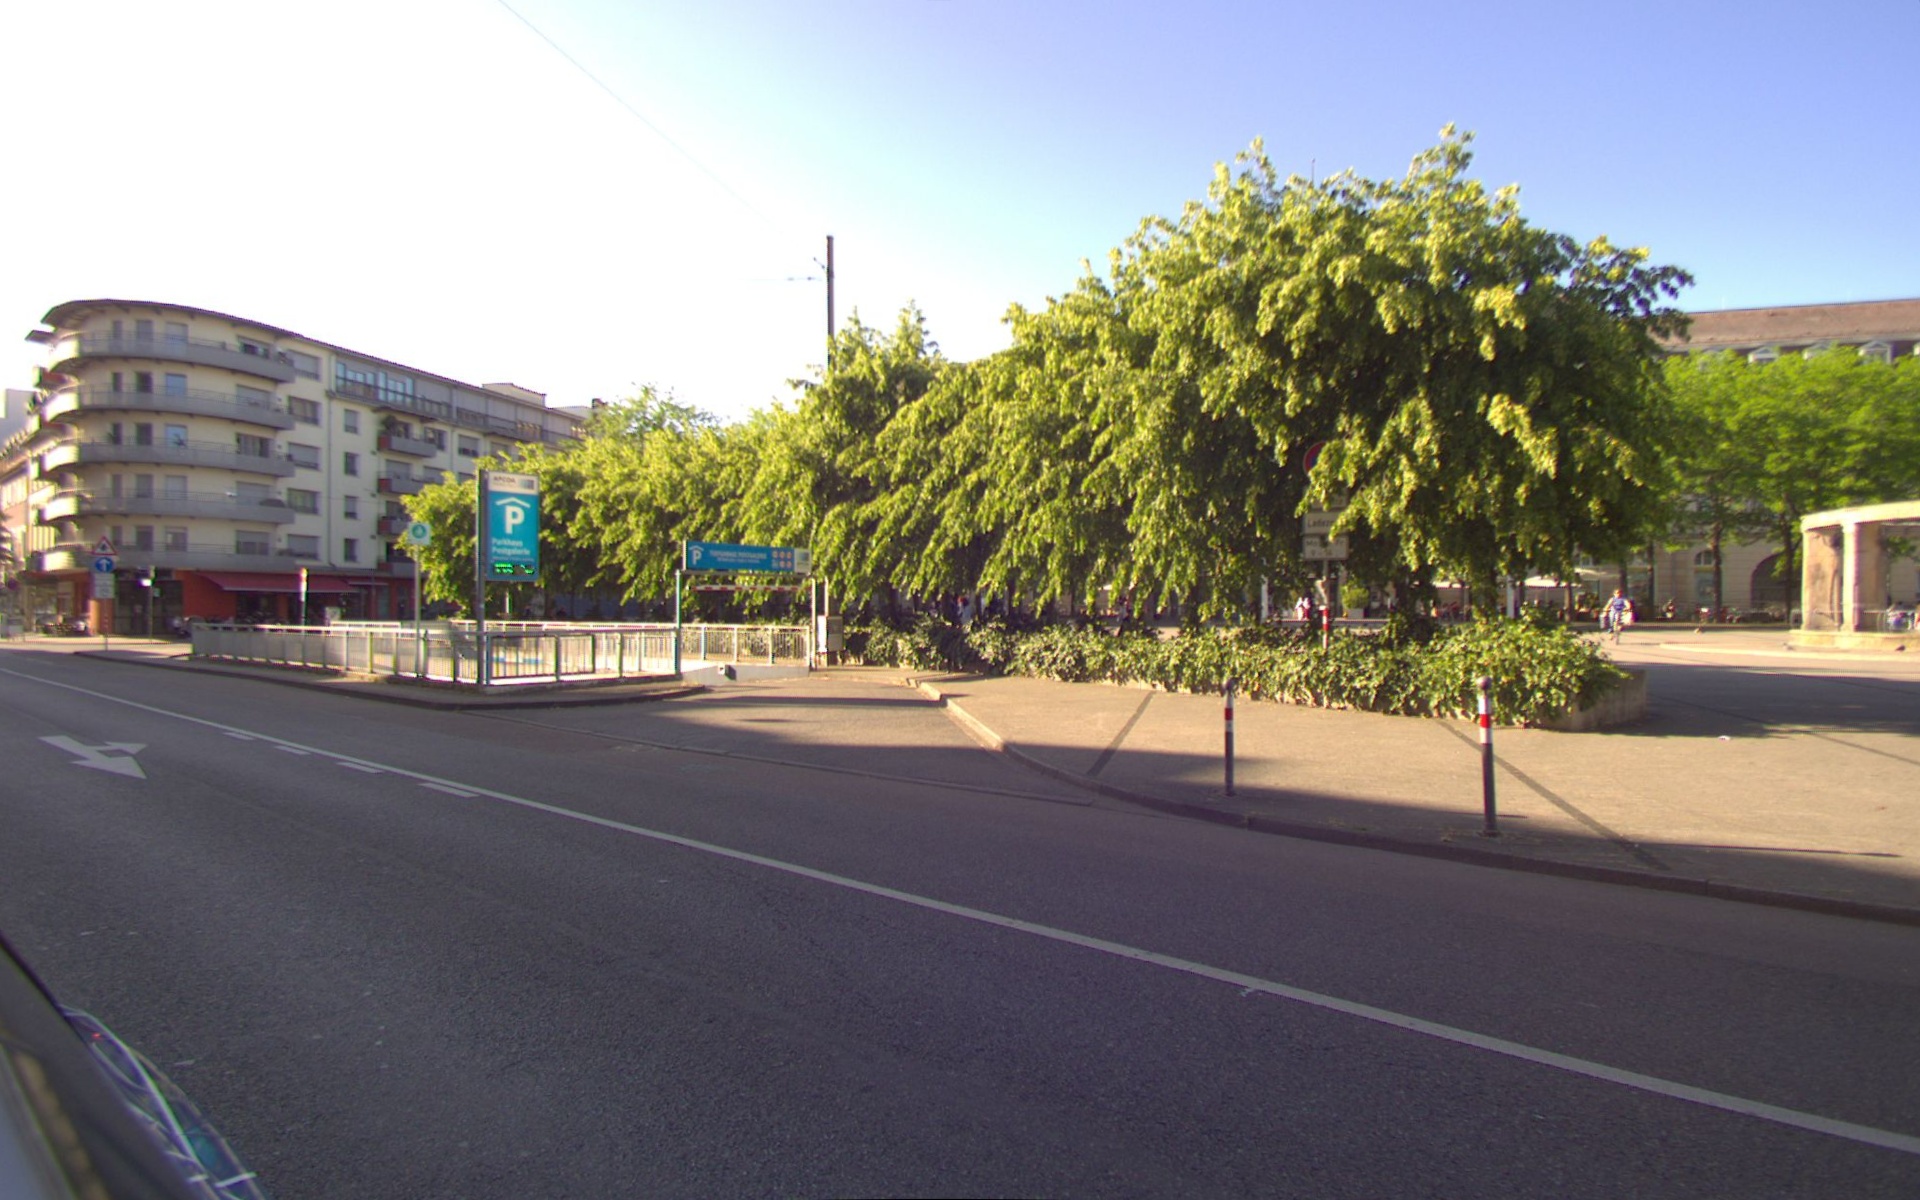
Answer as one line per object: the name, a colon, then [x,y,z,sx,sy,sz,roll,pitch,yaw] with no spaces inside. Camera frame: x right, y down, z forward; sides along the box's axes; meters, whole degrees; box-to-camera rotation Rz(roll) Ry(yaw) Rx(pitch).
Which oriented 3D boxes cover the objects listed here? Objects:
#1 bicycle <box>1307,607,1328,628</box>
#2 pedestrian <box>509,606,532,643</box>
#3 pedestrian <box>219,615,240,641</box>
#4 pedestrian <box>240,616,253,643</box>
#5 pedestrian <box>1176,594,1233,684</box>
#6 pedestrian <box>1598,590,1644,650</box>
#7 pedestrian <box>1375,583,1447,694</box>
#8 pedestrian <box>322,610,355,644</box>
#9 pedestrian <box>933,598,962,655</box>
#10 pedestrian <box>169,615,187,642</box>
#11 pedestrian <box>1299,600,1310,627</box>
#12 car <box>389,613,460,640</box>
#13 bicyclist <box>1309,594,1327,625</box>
bicycle: [16.879,0.807,47.786,0.587,0.961,1.887,-1,0,30]
pedestrian: [-21.800,1.217,50.238,0.753,1.819,0.748,-1,-1,25]
pedestrian: [-41.860,1.600,58.024,0.782,1.473,0.582,-1,0,3]
pedestrian: [-40.356,1.641,57.208,0.573,1.501,0.794,0,-1,-36]
pedestrian: [4.959,0.772,20.529,0.885,1.771,0.738,0,-1,-39]
pedestrian: [19.865,0.601,30.432,0.889,1.771,0.735,-1,-1,10]
pedestrian: [7.465,0.616,16.755,0.885,1.771,0.738,0,-1,-39]
pedestrian: [-37.393,1.605,60.903,1.251,2.029,1.226,-1,-1,19]
pedestrian: [-0.369,0.775,30.340,0.672,1.683,0.843,-1,0,13]
pedestrian: [-42.855,1.573,55.450,0.780,1.472,0.583,0,-1,-40]
pedestrian: [25.172,0.992,73.942,0.751,1.948,0.939,0,0,20]
car: [-35.679,1.744,67.475,1.983,1.763,3.978,-1,0,17]
bicyclist: [16.894,0.462,47.713,0.670,1.439,0.691,-1,-1,30]
